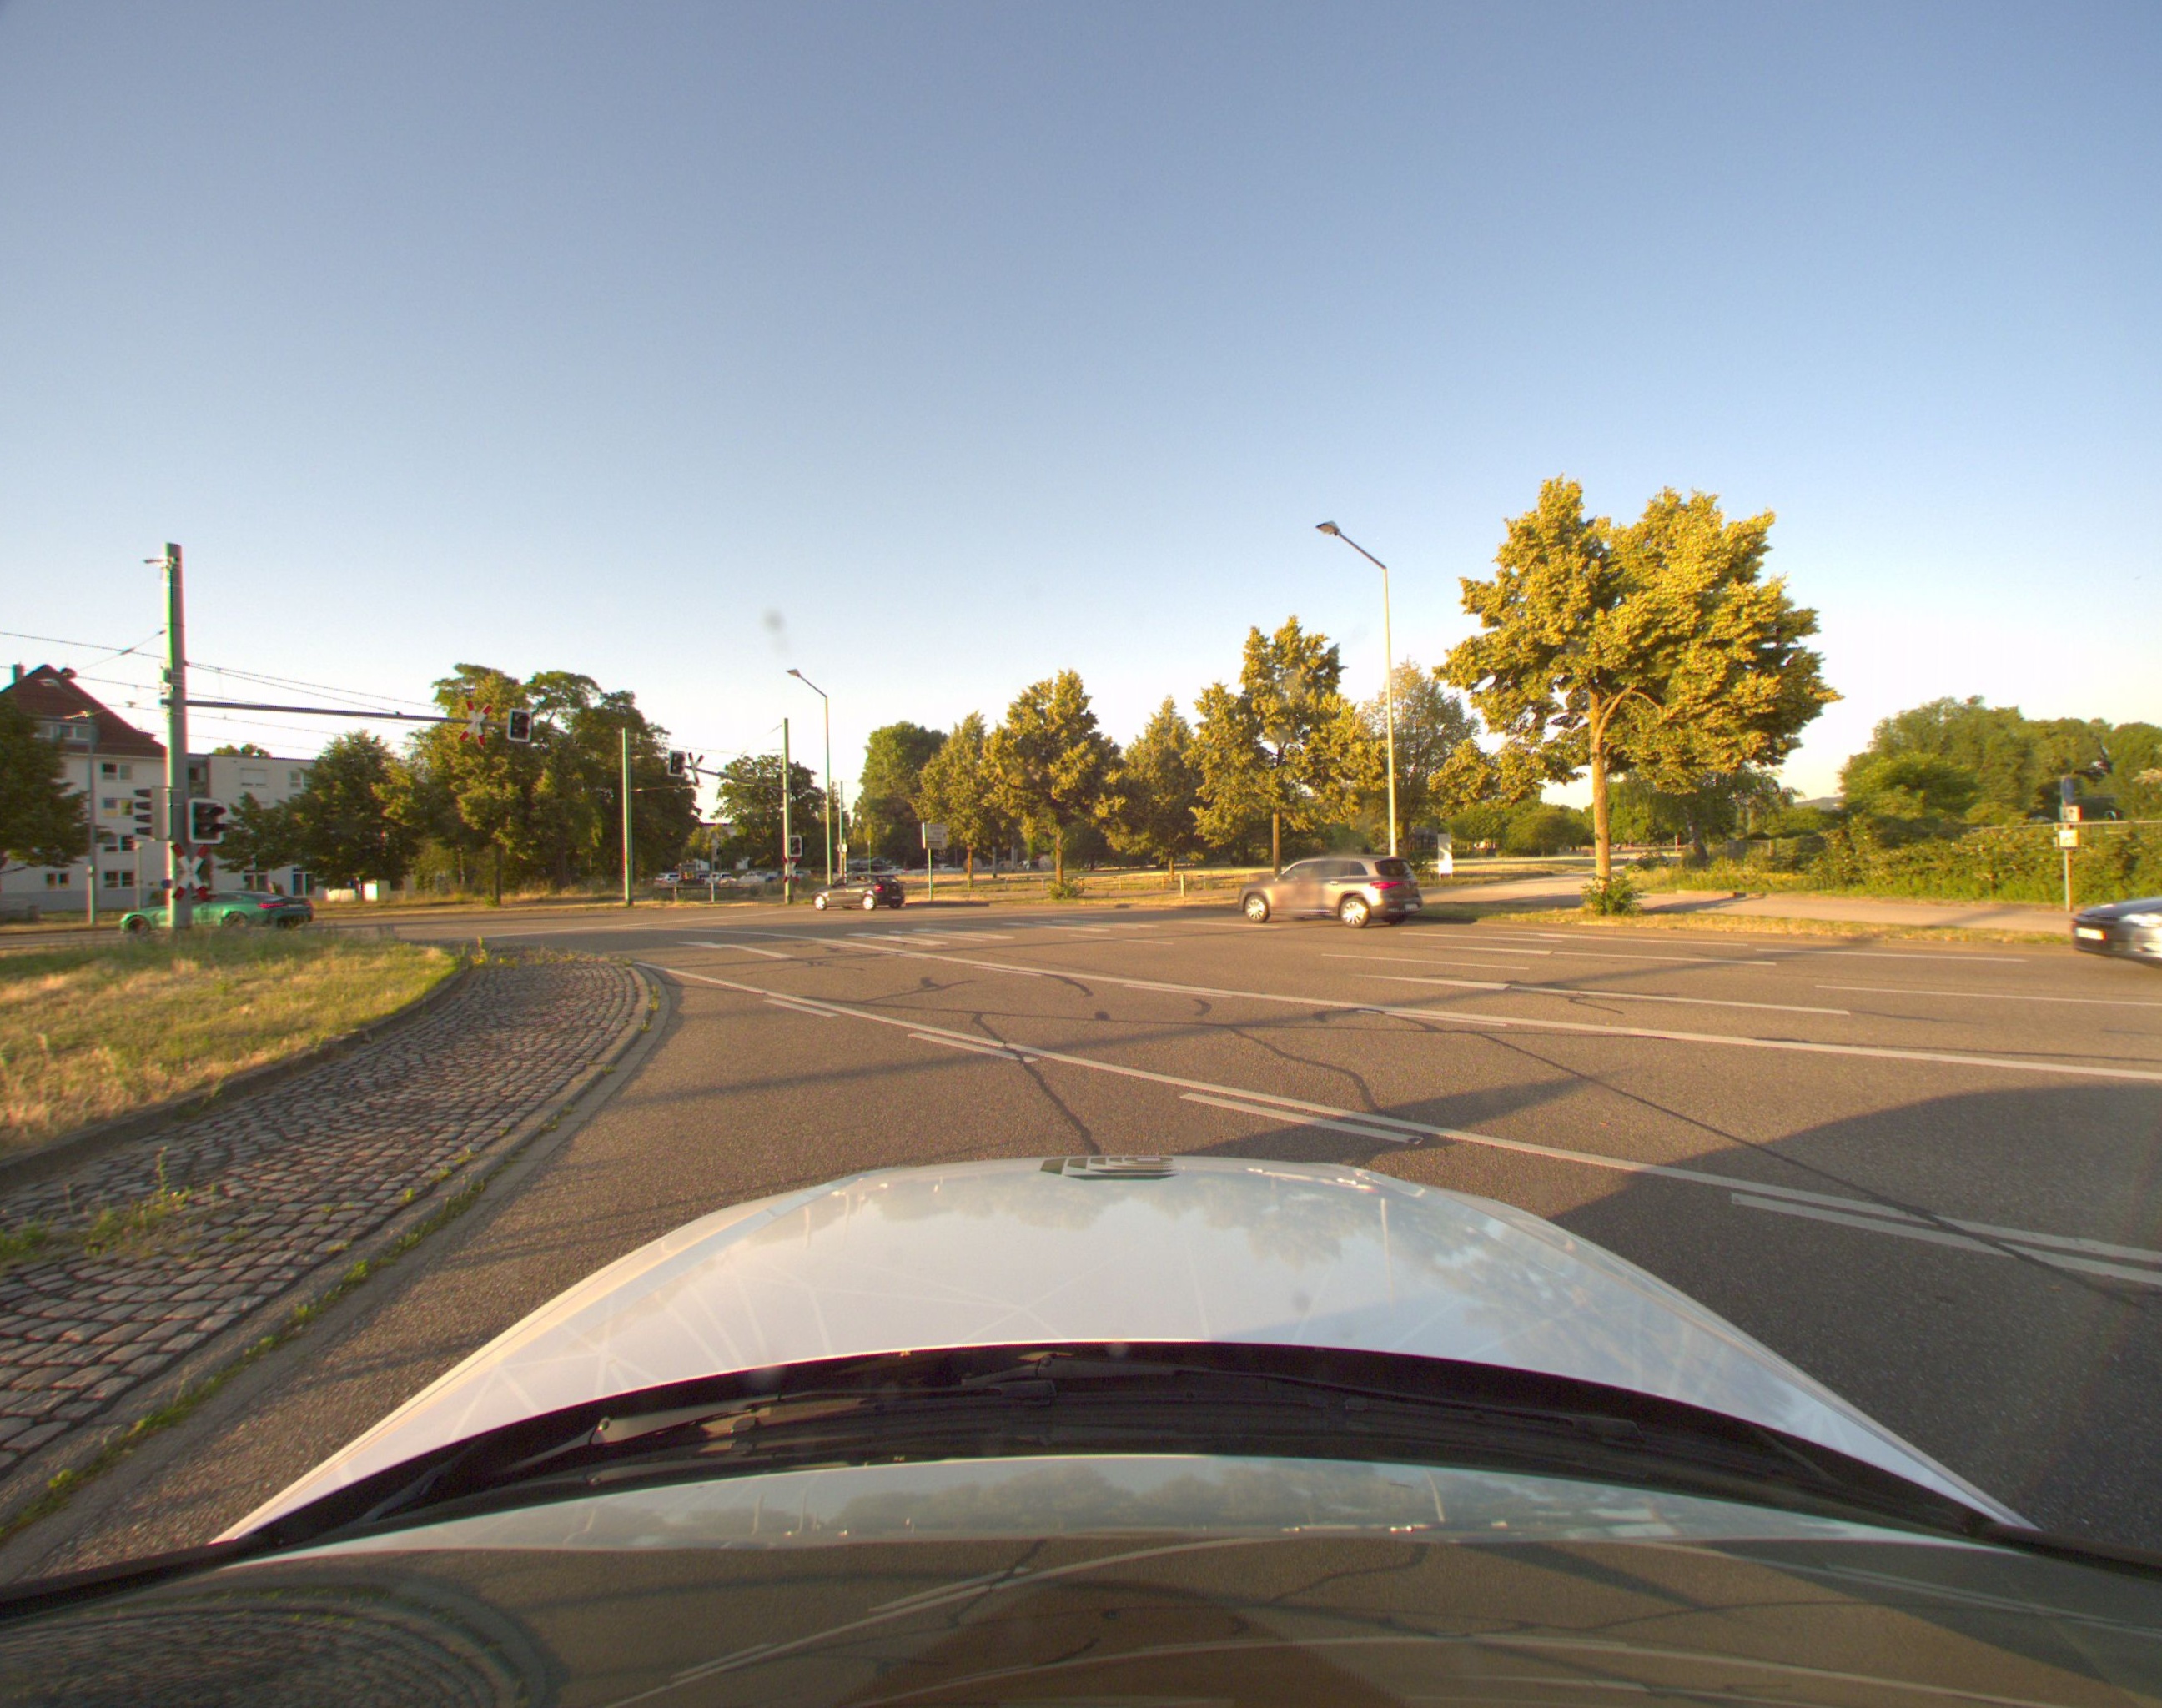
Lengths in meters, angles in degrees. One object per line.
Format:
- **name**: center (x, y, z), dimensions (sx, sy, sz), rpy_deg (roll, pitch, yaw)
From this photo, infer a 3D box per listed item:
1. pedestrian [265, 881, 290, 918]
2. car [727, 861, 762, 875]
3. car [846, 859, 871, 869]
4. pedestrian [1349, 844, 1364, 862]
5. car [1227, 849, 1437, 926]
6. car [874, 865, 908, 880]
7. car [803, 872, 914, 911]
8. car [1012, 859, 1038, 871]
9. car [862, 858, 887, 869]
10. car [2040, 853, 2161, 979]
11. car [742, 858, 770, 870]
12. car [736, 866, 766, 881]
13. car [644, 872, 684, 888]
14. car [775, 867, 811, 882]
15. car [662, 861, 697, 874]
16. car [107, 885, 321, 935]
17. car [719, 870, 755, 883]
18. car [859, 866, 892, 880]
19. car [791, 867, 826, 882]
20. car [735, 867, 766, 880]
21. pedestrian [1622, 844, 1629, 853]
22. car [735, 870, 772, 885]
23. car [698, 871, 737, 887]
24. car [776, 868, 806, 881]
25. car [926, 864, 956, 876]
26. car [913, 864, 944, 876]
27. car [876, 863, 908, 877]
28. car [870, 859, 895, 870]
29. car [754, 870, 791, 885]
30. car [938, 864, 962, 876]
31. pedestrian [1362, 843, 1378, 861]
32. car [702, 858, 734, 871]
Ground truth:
- **pedestrian**: center (-41.874, 2.379, 42.451), dimensions (0.666, 1.893, 0.619), rpy_deg (0, -1, -4)
- **car**: center (-51.903, 2.111, 125.793), dimensions (1.974, 2.013, 4.627), rpy_deg (-2, 0, 32)
- **car**: center (-41.772, 1.873, 153.013), dimensions (1.974, 1.816, 4.026), rpy_deg (-2, 0, 37)
- **pedestrian**: center (24.854, -0.066, 73.381), dimensions (1.064, 1.617, 0.911), rpy_deg (-2, 0, 4)
- **car**: center (5.980, 0.757, 19.851), dimensions (2.010, 1.637, 4.472), rpy_deg (-1, 0, -40)
- **car**: center (-27.671, 2.672, 118.505), dimensions (4.578, 2.013, 1.995), rpy_deg (-2, 0, -7)
- **car**: center (-8.638, 1.431, 31.606), dimensions (3.950, 1.354, 1.705), rpy_deg (-2, 1, 26)
- **car**: center (-7.974, 1.512, 115.258), dimensions (1.748, 1.618, 3.954), rpy_deg (-1, 0, -39)
- **car**: center (-37.983, 1.763, 150.035), dimensions (1.975, 2.013, 4.025), rpy_deg (-2, 0, 42)
- **car**: center (14.910, 0.682, 9.363), dimensions (4.611, 1.464, 1.898), rpy_deg (-2, -3, 28)
- **car**: center (-57.860, 1.791, 144.923), dimensions (1.974, 2.013, 4.143), rpy_deg (-2, 0, 36)
- **car**: center (-47.742, 2.760, 117.834), dimensions (4.006, 2.013, 1.984), rpy_deg (-2, 0, -24)
- **car**: center (-42.668, 2.668, 83.316), dimensions (3.948, 1.604, 2.013), rpy_deg (-2, 0, 34)
- **car**: center (-33.716, 2.439, 95.423), dimensions (3.948, 1.604, 2.013), rpy_deg (-2, 0, 34)
- **car**: center (-65.685, 2.221, 133.312), dimensions (1.974, 2.013, 4.627), rpy_deg (-2, 0, 32)
- **car**: center (-28.421, 1.820, 26.824), dimensions (4.708, 1.371, 1.998), rpy_deg (-2, 0, -3)
- **car**: center (-46.132, 3.004, 109.136), dimensions (1.878, 1.662, 4.026), rpy_deg (-2, 0, 37)
- **car**: center (-26.689, 2.473, 105.980), dimensions (3.948, 1.604, 2.013), rpy_deg (-2, 0, 34)
- **car**: center (-32.652, 2.449, 97.603), dimensions (3.948, 1.604, 2.013), rpy_deg (-2, 0, 34)
- **car**: center (-46.248, 2.773, 113.935), dimensions (4.005, 1.662, 1.984), rpy_deg (-2, 0, -24)
- **pedestrian**: center (103.719, -0.971, 155.120), dimensions (0.984, 1.661, 0.844), rpy_deg (-1, -1, -45)
- **car**: center (-37.068, 2.698, 92.054), dimensions (3.948, 1.604, 2.013), rpy_deg (-2, 0, 34)
- **car**: center (-39.037, 2.676, 87.534), dimensions (3.948, 1.604, 2.013), rpy_deg (-2, 0, 34)
- **car**: center (-41.319, 2.871, 115.987), dimensions (4.001, 1.662, 1.889), rpy_deg (-2, 0, -20)
- **car**: center (-20.011, 2.361, 116.475), dimensions (3.948, 1.604, 2.013), rpy_deg (-2, 0, 34)
- **car**: center (-21.486, 2.304, 114.781), dimensions (3.948, 1.604, 2.013), rpy_deg (-2, 0, 34)
- **car**: center (-29.398, 2.402, 126.693), dimensions (4.578, 2.013, 1.995), rpy_deg (-2, 0, -7)
- **car**: center (-35.706, 1.874, 146.429), dimensions (3.964, 1.706, 2.005), rpy_deg (-2, 0, 8)
- **car**: center (-35.524, 2.699, 93.664), dimensions (3.948, 1.604, 2.013), rpy_deg (-2, 0, 34)
- **car**: center (-20.861, 2.516, 129.983), dimensions (2.008, 1.752, 4.549), rpy_deg (-1, 1, -35)
- **pedestrian**: center (25.912, -0.201, 72.989), dimensions (1.064, 1.617, 0.911), rpy_deg (-2, 0, 4)
- **car**: center (-61.947, 1.775, 139.052), dimensions (1.974, 2.013, 4.628), rpy_deg (-2, 0, 36)
